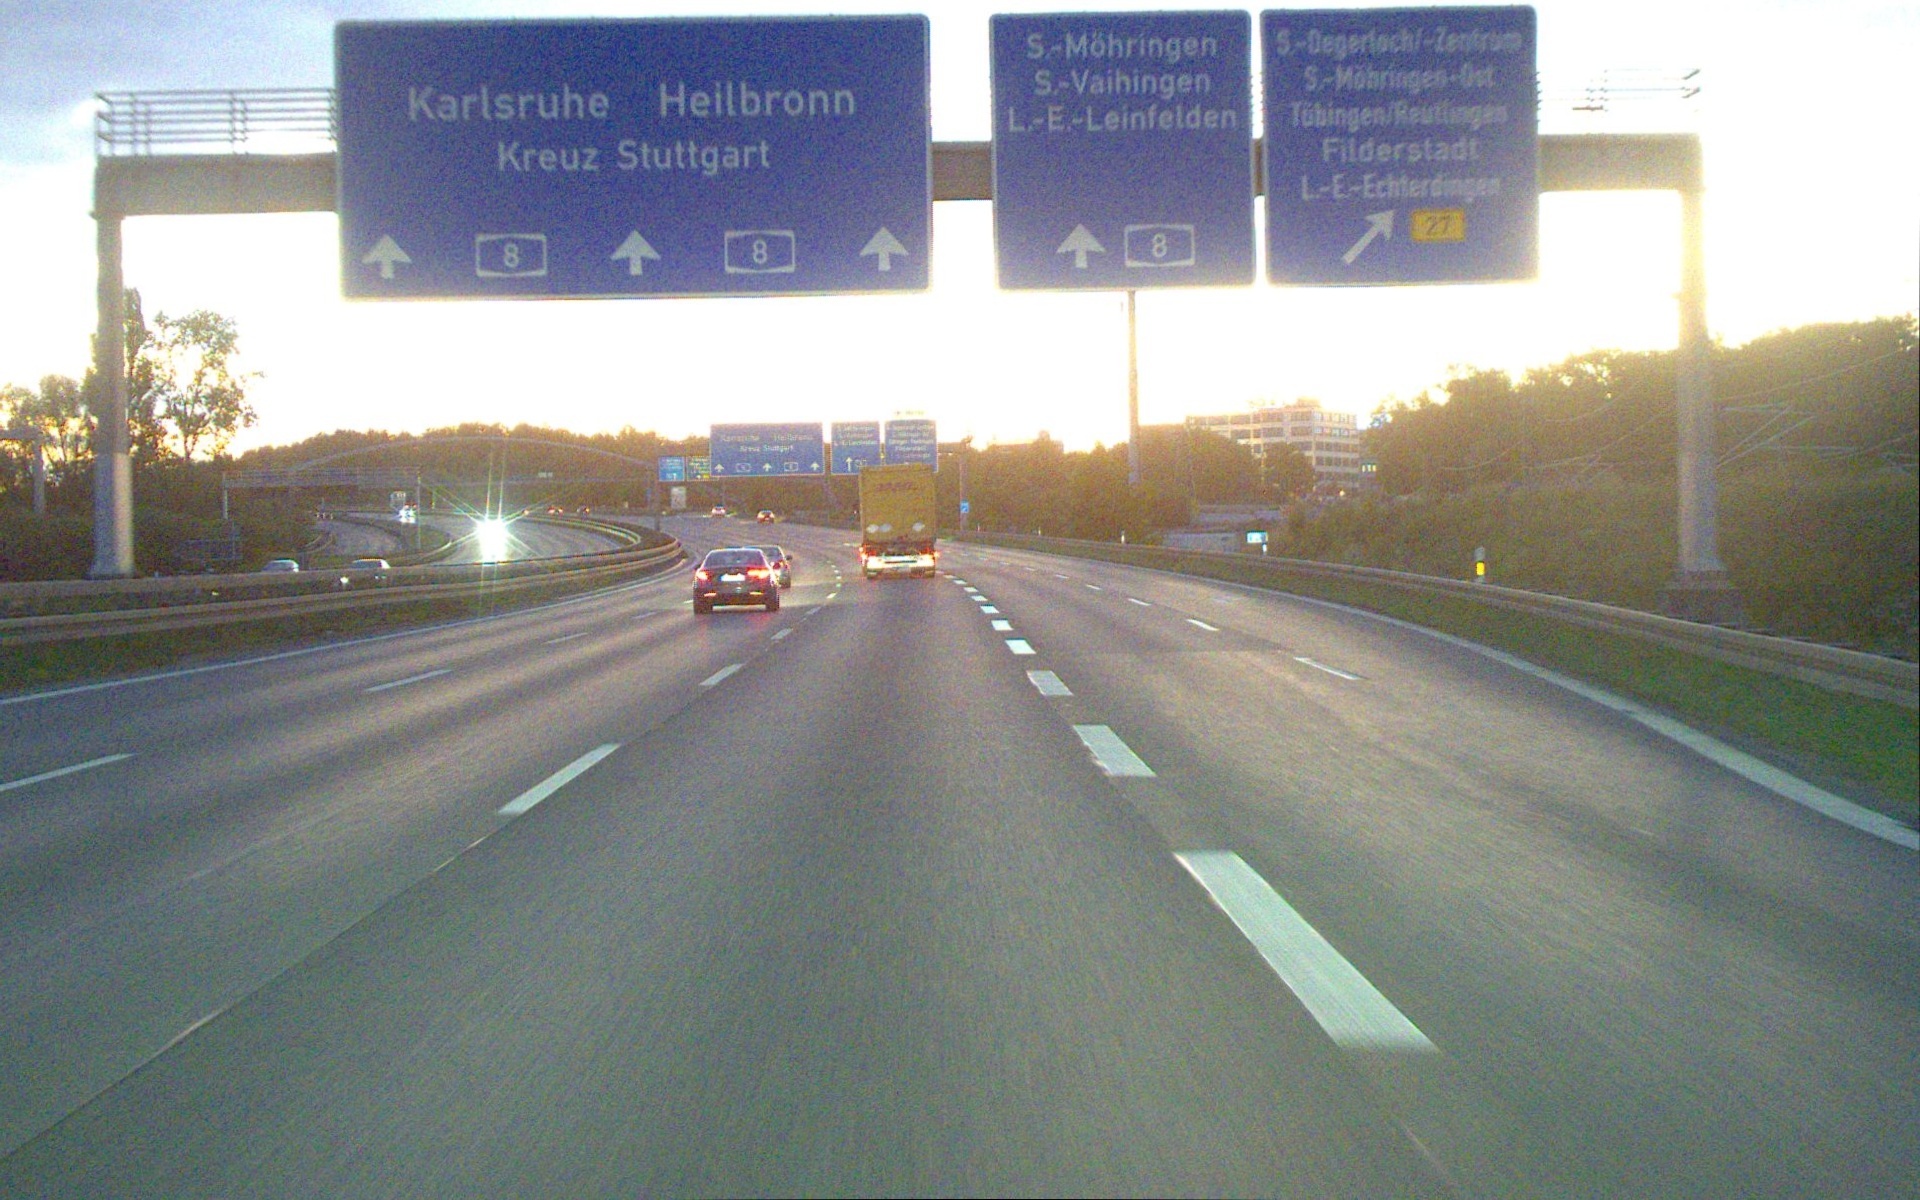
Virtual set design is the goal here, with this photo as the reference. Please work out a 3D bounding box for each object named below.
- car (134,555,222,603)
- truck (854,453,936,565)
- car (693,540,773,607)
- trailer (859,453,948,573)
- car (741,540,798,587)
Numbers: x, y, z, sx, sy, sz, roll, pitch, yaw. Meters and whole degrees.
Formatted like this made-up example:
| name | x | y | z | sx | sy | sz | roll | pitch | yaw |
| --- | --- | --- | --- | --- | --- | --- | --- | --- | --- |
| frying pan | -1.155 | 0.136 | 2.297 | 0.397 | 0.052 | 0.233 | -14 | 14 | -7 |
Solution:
| name | x | y | z | sx | sy | sz | roll | pitch | yaw |
| --- | --- | --- | --- | --- | --- | --- | --- | --- | --- |
| car | -23.656 | -0.616 | 104.095 | 1.689 | 1.396 | 4.429 | 1 | 0 | -1 |
| truck | -2.612 | -3.598 | 134.116 | 2.690 | 4.057 | 10.522 | -3 | 2 | -3 |
| car | -5.145 | -0.606 | 77.687 | 1.689 | 1.396 | 3.409 | -3 | 1 | -4 |
| trailer | -2.108 | -3.195 | 124.462 | 2.721 | 4.057 | 8.833 | -3 | 2 | -3 |
| car | -6.137 | -1.186 | 111.144 | 1.689 | 1.396 | 3.409 | -3 | 0 | -2 |
